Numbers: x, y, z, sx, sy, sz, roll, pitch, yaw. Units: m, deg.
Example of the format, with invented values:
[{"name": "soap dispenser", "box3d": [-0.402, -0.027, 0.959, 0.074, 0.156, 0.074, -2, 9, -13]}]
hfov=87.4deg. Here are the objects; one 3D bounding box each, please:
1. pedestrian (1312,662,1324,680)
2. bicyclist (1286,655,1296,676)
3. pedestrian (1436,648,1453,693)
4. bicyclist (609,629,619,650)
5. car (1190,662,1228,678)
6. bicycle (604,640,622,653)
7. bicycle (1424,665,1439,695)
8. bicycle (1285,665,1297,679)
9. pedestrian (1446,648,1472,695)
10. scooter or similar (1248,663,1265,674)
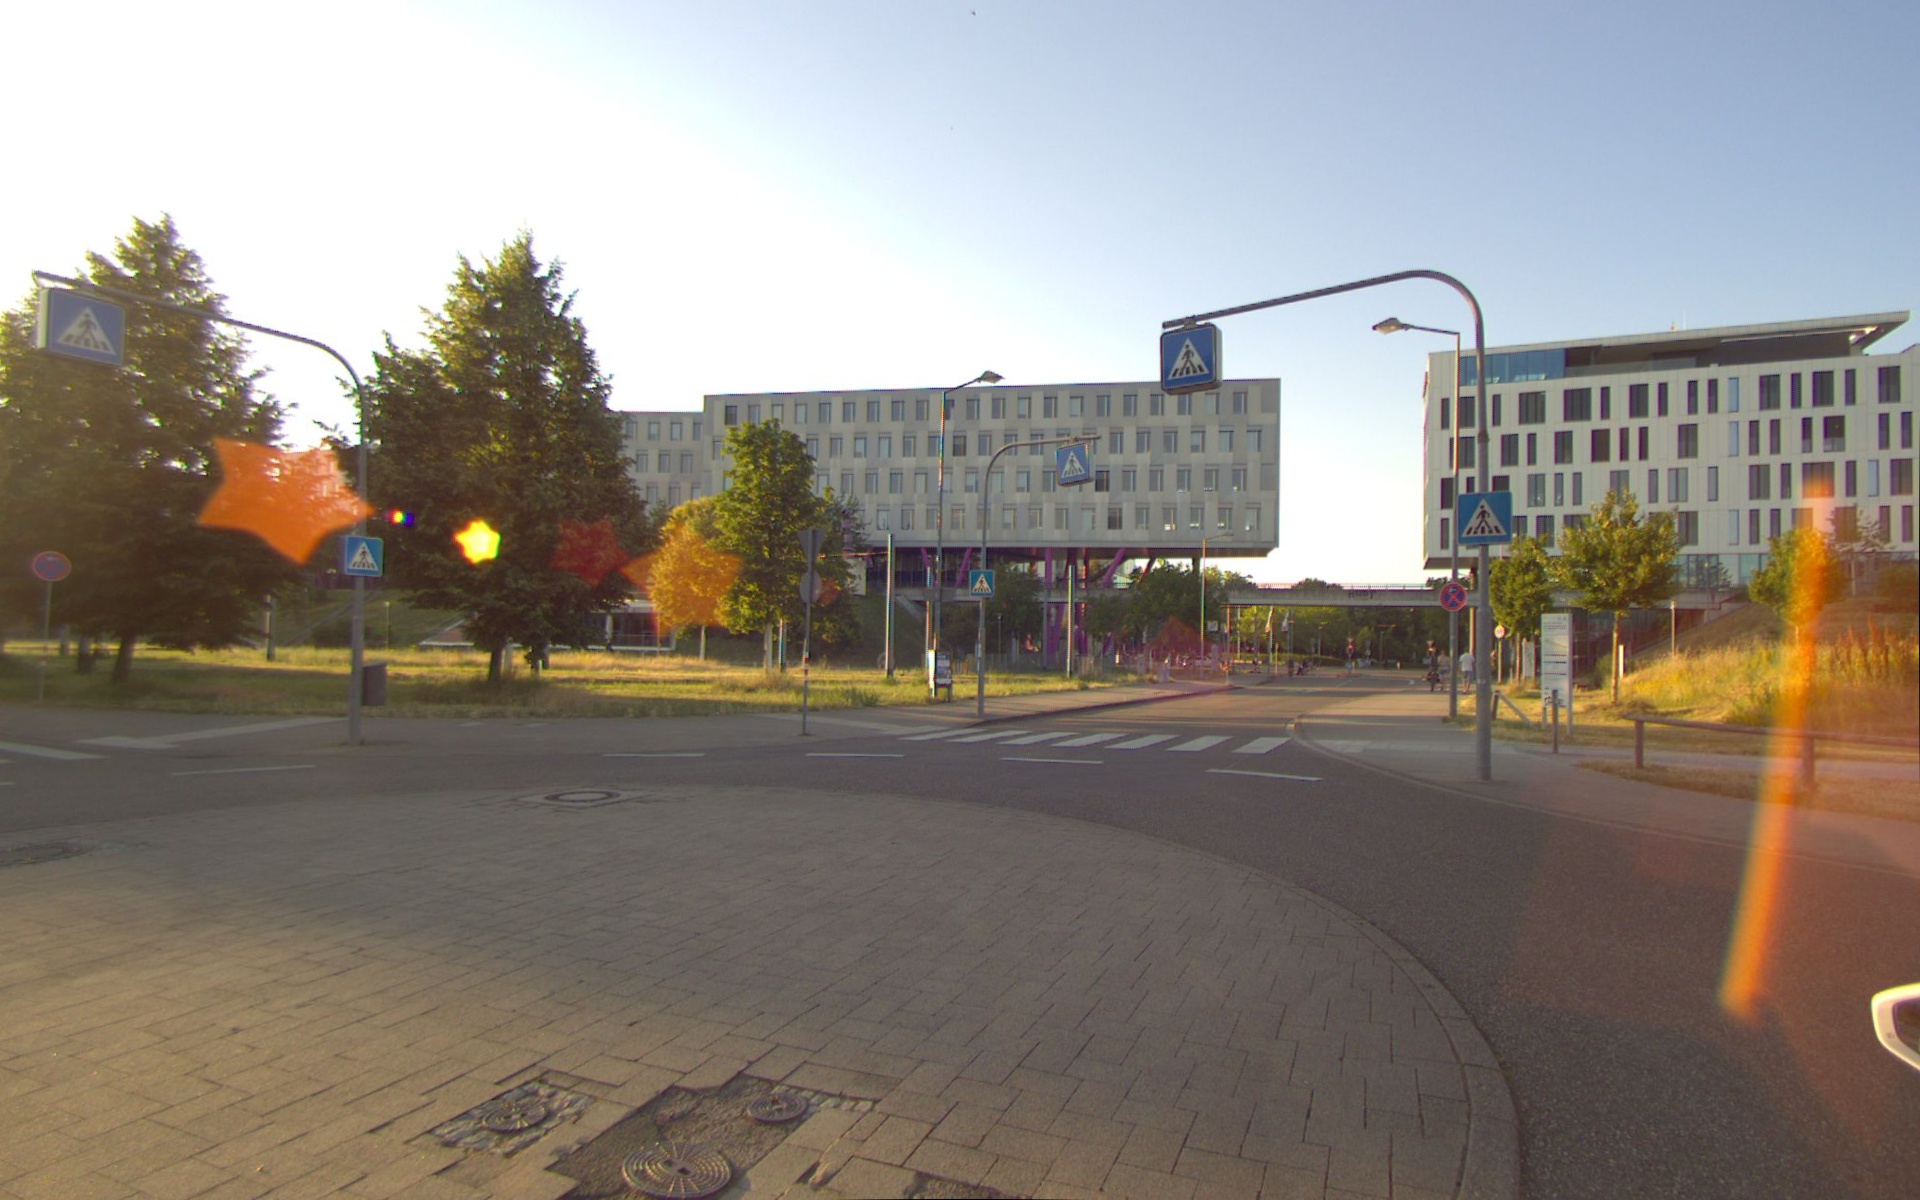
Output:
[{"name": "pedestrian", "box3d": [37.305, 7.366, 104.593, 1.035, 1.858, 0.896, 1, -2, 11]}, {"name": "bicyclist", "box3d": [26.580, 5.251, 80.693, 0.605, 1.684, 1.035, 0, -2, 28]}, {"name": "pedestrian", "box3d": [20.238, 2.936, 41.946, 0.586, 1.825, 0.816, 0, -2, 31]}, {"name": "bicyclist", "box3d": [-24.867, 2.827, 72.131, 0.504, 1.514, 0.424, 0, -2, 26]}, {"name": "car", "box3d": [30.495, 8.546, 122.900, 4.342, 1.747, 1.834, 0, -2, 22]}, {"name": "bicycle", "box3d": [-24.910, 3.357, 72.127, 1.212, 0.912, 0.431, 0, -2, 25]}, {"name": "bicycle", "box3d": [19.760, 3.324, 42.085, 0.443, 1.184, 1.938, 0, -2, 29]}, {"name": "bicycle", "box3d": [26.585, 5.795, 80.648, 0.530, 1.056, 1.922, 0, -2, 28]}, {"name": "pedestrian", "box3d": [19.514, 2.797, 39.279, 0.819, 1.790, 0.816, 0, -2, 31]}, {"name": "scooter or similar", "box3d": [32.553, 7.499, 110.332, 1.828, 1.189, 0.764, 0, -2, 16]}]
